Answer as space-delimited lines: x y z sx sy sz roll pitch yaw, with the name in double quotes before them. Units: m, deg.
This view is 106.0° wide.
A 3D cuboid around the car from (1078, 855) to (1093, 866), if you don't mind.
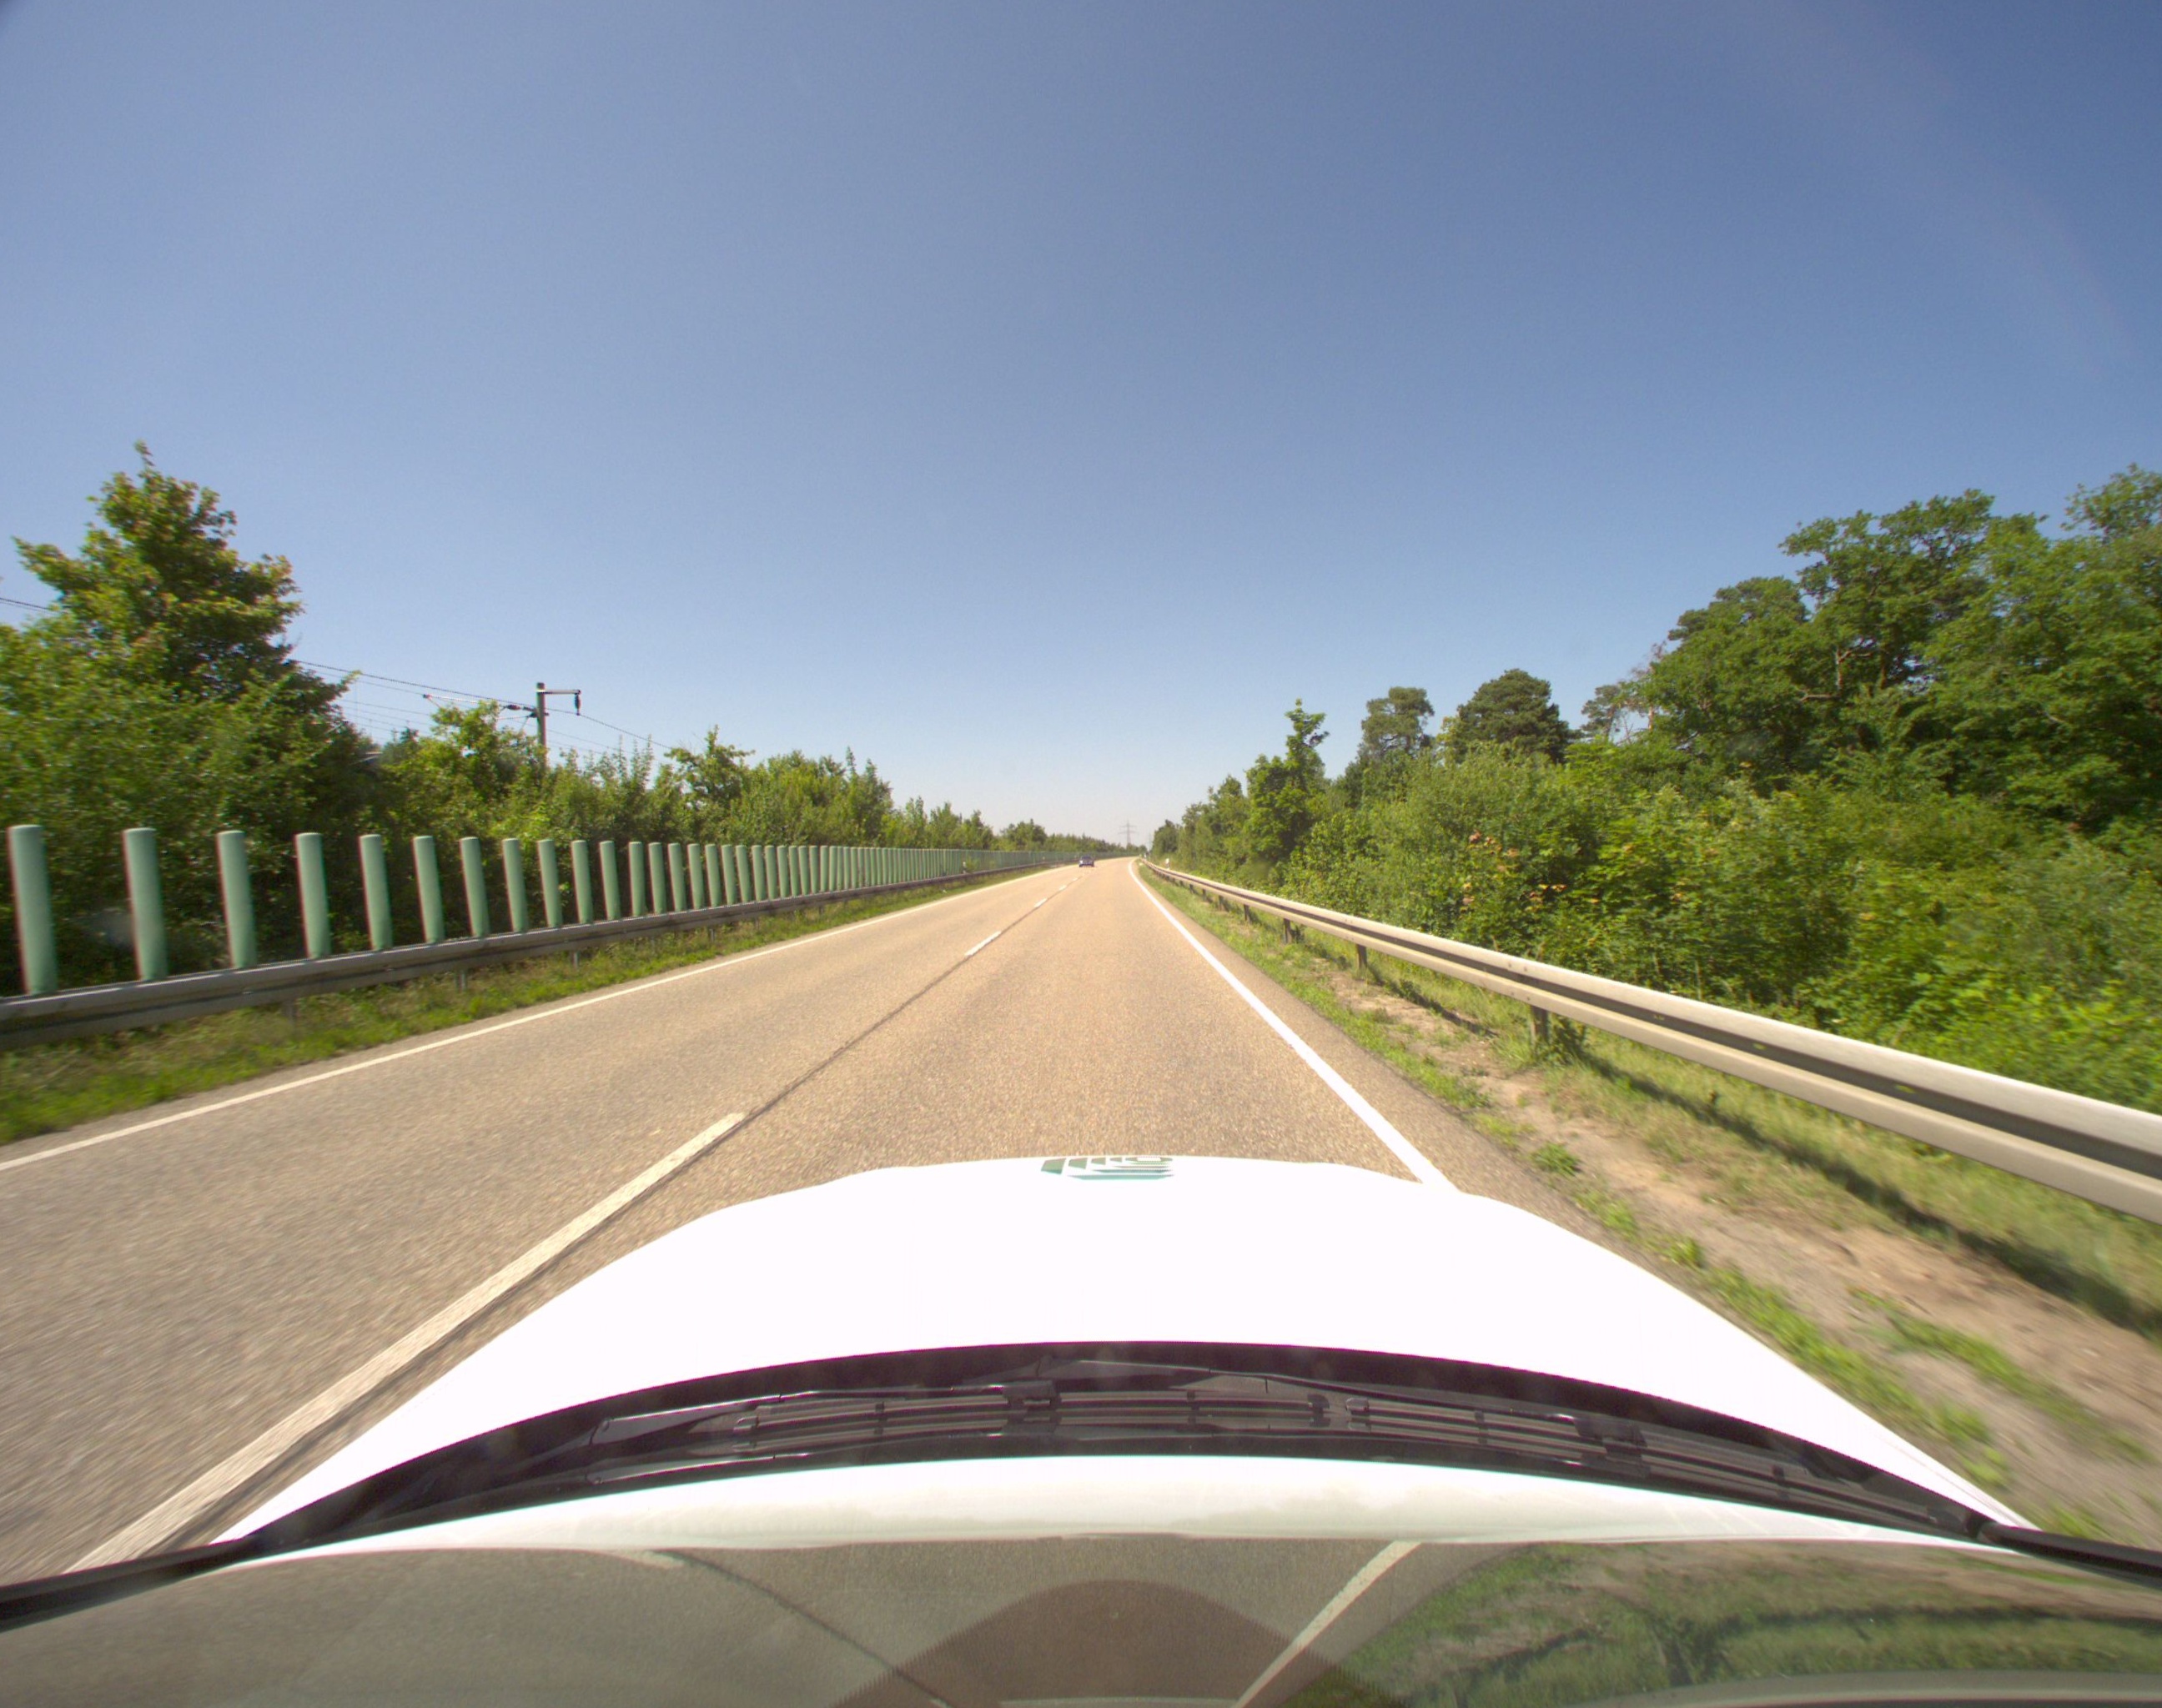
"car" 0.607 0.784 100.416 1.780 1.371 3.898 -1 0 2
